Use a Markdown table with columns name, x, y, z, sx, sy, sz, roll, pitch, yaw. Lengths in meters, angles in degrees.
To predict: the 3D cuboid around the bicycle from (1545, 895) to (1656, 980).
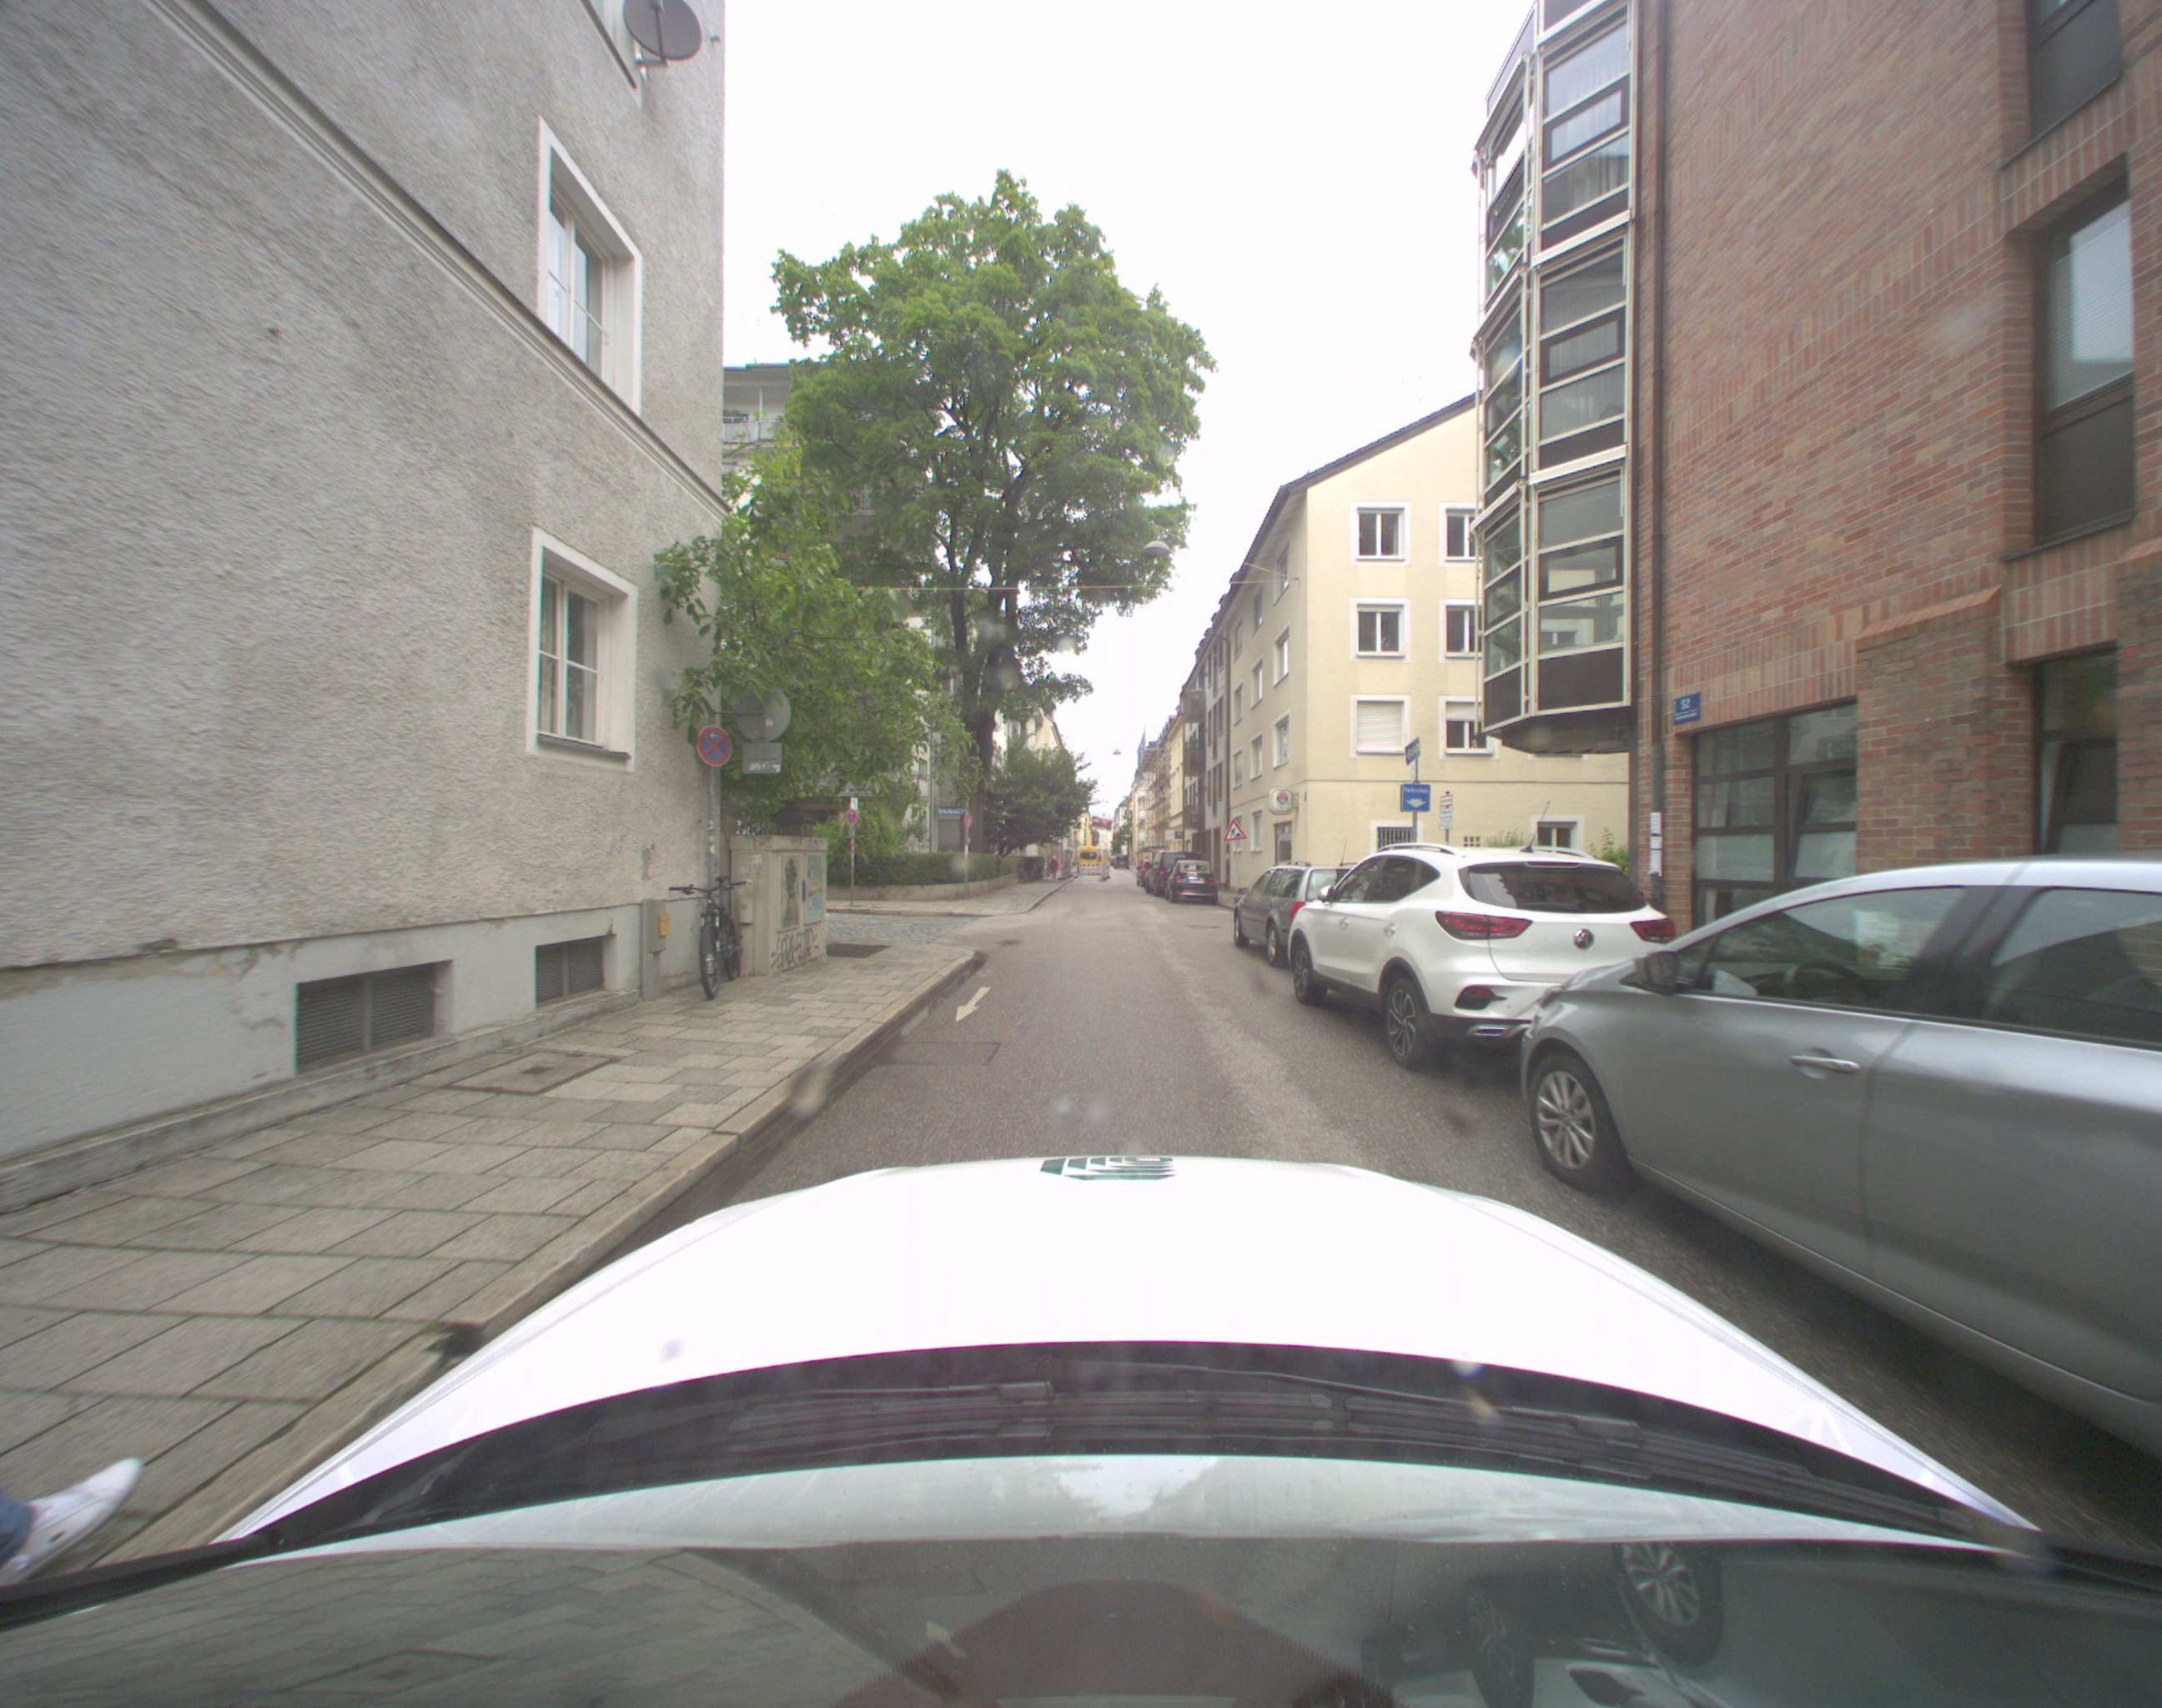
| name | x | y | z | sx | sy | sz | roll | pitch | yaw |
| --- | --- | --- | --- | --- | --- | --- | --- | --- | --- |
| bicycle | 6.201 | 0.968 | 9.806 | 0.383 | 0.874 | 1.542 | -1 | -1 | 2 |

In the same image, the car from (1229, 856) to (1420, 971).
| name | x | y | z | sx | sy | sz | roll | pitch | yaw |
| --- | --- | --- | --- | --- | --- | --- | --- | --- | --- |
| car | 3.495 | 0.771 | 12.451 | 1.739 | 1.445 | 4.000 | 1 | 0 | 0 |

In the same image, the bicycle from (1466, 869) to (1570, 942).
| name | x | y | z | sx | sy | sz | roll | pitch | yaw |
| --- | --- | --- | --- | --- | --- | --- | --- | --- | --- |
| bicycle | 7.057 | 0.809 | 13.214 | 0.380 | 1.080 | 1.539 | 2 | 0 | -27 |

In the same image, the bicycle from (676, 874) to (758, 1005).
| name | x | y | z | sx | sy | sz | roll | pitch | yaw |
| --- | --- | --- | --- | --- | --- | --- | --- | --- | --- |
| bicycle | -3.574 | 0.779 | 8.093 | 0.474 | 1.111 | 1.750 | 1 | 0 | -16 |

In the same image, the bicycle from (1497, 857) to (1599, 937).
| name | x | y | z | sx | sy | sz | roll | pitch | yaw |
| --- | --- | --- | --- | --- | --- | --- | --- | --- | --- |
| bicycle | 7.900 | 0.700 | 13.833 | 0.380 | 1.276 | 1.539 | 1 | 0 | -27 |

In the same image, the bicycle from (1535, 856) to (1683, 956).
| name | x | y | z | sx | sy | sz | roll | pitch | yaw |
| --- | --- | --- | --- | --- | --- | --- | --- | --- | --- |
| bicycle | 7.054 | 0.680 | 10.952 | 1.623 | 1.276 | 0.382 | -1 | -1 | 28 |

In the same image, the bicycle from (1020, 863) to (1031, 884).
| name | x | y | z | sx | sy | sz | roll | pitch | yaw |
| --- | --- | --- | --- | --- | --- | --- | --- | --- | --- |
| bicycle | -2.871 | 0.994 | 41.973 | 0.413 | 1.020 | 1.854 | 0 | -1 | 1 |

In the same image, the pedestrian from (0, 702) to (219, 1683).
| name | x | y | z | sx | sy | sz | roll | pitch | yaw |
| --- | --- | --- | --- | --- | --- | --- | --- | --- | --- |
| pedestrian | -2.185 | 0.563 | 1.204 | 0.750 | 1.659 | 0.906 | 2 | -1 | 1 |

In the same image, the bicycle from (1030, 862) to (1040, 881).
| name | x | y | z | sx | sy | sz | roll | pitch | yaw |
| --- | --- | --- | --- | --- | --- | --- | --- | --- | --- |
| bicycle | -2.654 | 1.036 | 47.509 | 0.444 | 1.073 | 2.467 | 0 | -1 | 0 |

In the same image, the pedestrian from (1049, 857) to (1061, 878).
| name | x | y | z | sx | sy | sz | roll | pitch | yaw |
| --- | --- | --- | --- | --- | --- | --- | --- | --- | --- |
| pedestrian | -1.790 | 0.934 | 56.863 | 0.753 | 1.491 | 0.831 | -1 | -1 | 1 |

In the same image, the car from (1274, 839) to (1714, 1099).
| name | x | y | z | sx | sy | sz | roll | pitch | yaw |
| --- | --- | --- | --- | --- | --- | --- | --- | --- | --- |
| car | 3.114 | 0.730 | 7.244 | 1.743 | 1.630 | 4.195 | 0 | 0 | -1 |

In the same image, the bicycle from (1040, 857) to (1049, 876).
| name | x | y | z | sx | sy | sz | roll | pitch | yaw |
| --- | --- | --- | --- | --- | --- | --- | --- | --- | --- |
| bicycle | -2.692 | 0.927 | 60.320 | 0.512 | 1.418 | 1.934 | 0 | -1 | 1 |

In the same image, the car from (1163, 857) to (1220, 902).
| name | x | y | z | sx | sy | sz | roll | pitch | yaw |
| --- | --- | --- | --- | --- | --- | --- | --- | --- | --- |
| car | 3.894 | 0.855 | 29.283 | 1.618 | 1.487 | 3.809 | 1 | 0 | 2 |

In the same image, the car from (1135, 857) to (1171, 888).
| name | x | y | z | sx | sy | sz | roll | pitch | yaw |
| --- | --- | --- | --- | --- | --- | --- | --- | --- | --- |
| car | 3.972 | 0.992 | 45.529 | 1.630 | 1.515 | 3.829 | 4 | 0 | 1 |

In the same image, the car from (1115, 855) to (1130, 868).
| name | x | y | z | sx | sy | sz | roll | pitch | yaw |
| --- | --- | --- | --- | --- | --- | --- | --- | --- | --- |
| car | 5.679 | 1.021 | 111.214 | 1.795 | 1.712 | 3.826 | 4 | 0 | 0 |

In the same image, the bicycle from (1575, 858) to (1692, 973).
| name | x | y | z | sx | sy | sz | roll | pitch | yaw |
| --- | --- | --- | --- | --- | --- | --- | --- | --- | --- |
| bicycle | 6.607 | 0.694 | 9.816 | 0.377 | 1.276 | 1.553 | -1 | -1 | 2 |

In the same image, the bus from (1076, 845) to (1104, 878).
| name | x | y | z | sx | sy | sz | roll | pitch | yaw |
| --- | --- | --- | --- | --- | --- | --- | --- | --- | --- |
| bus | 0.910 | 0.723 | 79.586 | 2.583 | 3.102 | 6.308 | -1 | -1 | 2 |

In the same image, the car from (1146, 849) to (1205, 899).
| name | x | y | z | sx | sy | sz | roll | pitch | yaw |
| --- | --- | --- | --- | --- | --- | --- | --- | --- | --- |
| car | 3.838 | 0.780 | 33.646 | 1.796 | 1.820 | 3.998 | 4 | 0 | -1 |

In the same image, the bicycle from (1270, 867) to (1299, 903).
| name | x | y | z | sx | sy | sz | roll | pitch | yaw |
| --- | --- | --- | --- | --- | --- | --- | --- | --- | --- |
| bicycle | 6.224 | 0.935 | 25.003 | 0.472 | 1.026 | 1.706 | -2 | -1 | 2 |

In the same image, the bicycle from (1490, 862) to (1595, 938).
| name | x | y | z | sx | sy | sz | roll | pitch | yaw |
| --- | --- | --- | --- | --- | --- | --- | --- | --- | --- |
| bicycle | 7.495 | 0.717 | 13.289 | 0.380 | 1.159 | 1.539 | 1 | 0 | -27 |

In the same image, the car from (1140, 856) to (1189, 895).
| name | x | y | z | sx | sy | sz | roll | pitch | yaw |
| --- | --- | --- | --- | --- | --- | --- | --- | --- | --- |
| car | 3.817 | 0.950 | 37.742 | 1.795 | 1.568 | 4.000 | 4 | 0 | 0 |

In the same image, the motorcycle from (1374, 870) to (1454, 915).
| name | x | y | z | sx | sy | sz | roll | pitch | yaw |
| --- | --- | --- | --- | --- | --- | --- | --- | --- | --- |
| motorcycle | 8.948 | 1.014 | 21.953 | 0.626 | 1.108 | 1.905 | 1 | -1 | -41 |

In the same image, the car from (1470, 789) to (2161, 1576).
| name | x | y | z | sx | sy | sz | roll | pitch | yaw |
| --- | --- | --- | --- | --- | --- | --- | --- | --- | --- |
| car | 3.073 | 0.688 | 2.598 | 1.716 | 1.635 | 3.878 | 0 | -1 | -2 |

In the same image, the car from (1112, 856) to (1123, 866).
| name | x | y | z | sx | sy | sz | roll | pitch | yaw |
| --- | --- | --- | --- | --- | --- | --- | --- | --- | --- |
| car | 6.263 | 1.196 | 139.731 | 1.794 | 1.614 | 4.001 | 1 | 0 | 2 |
